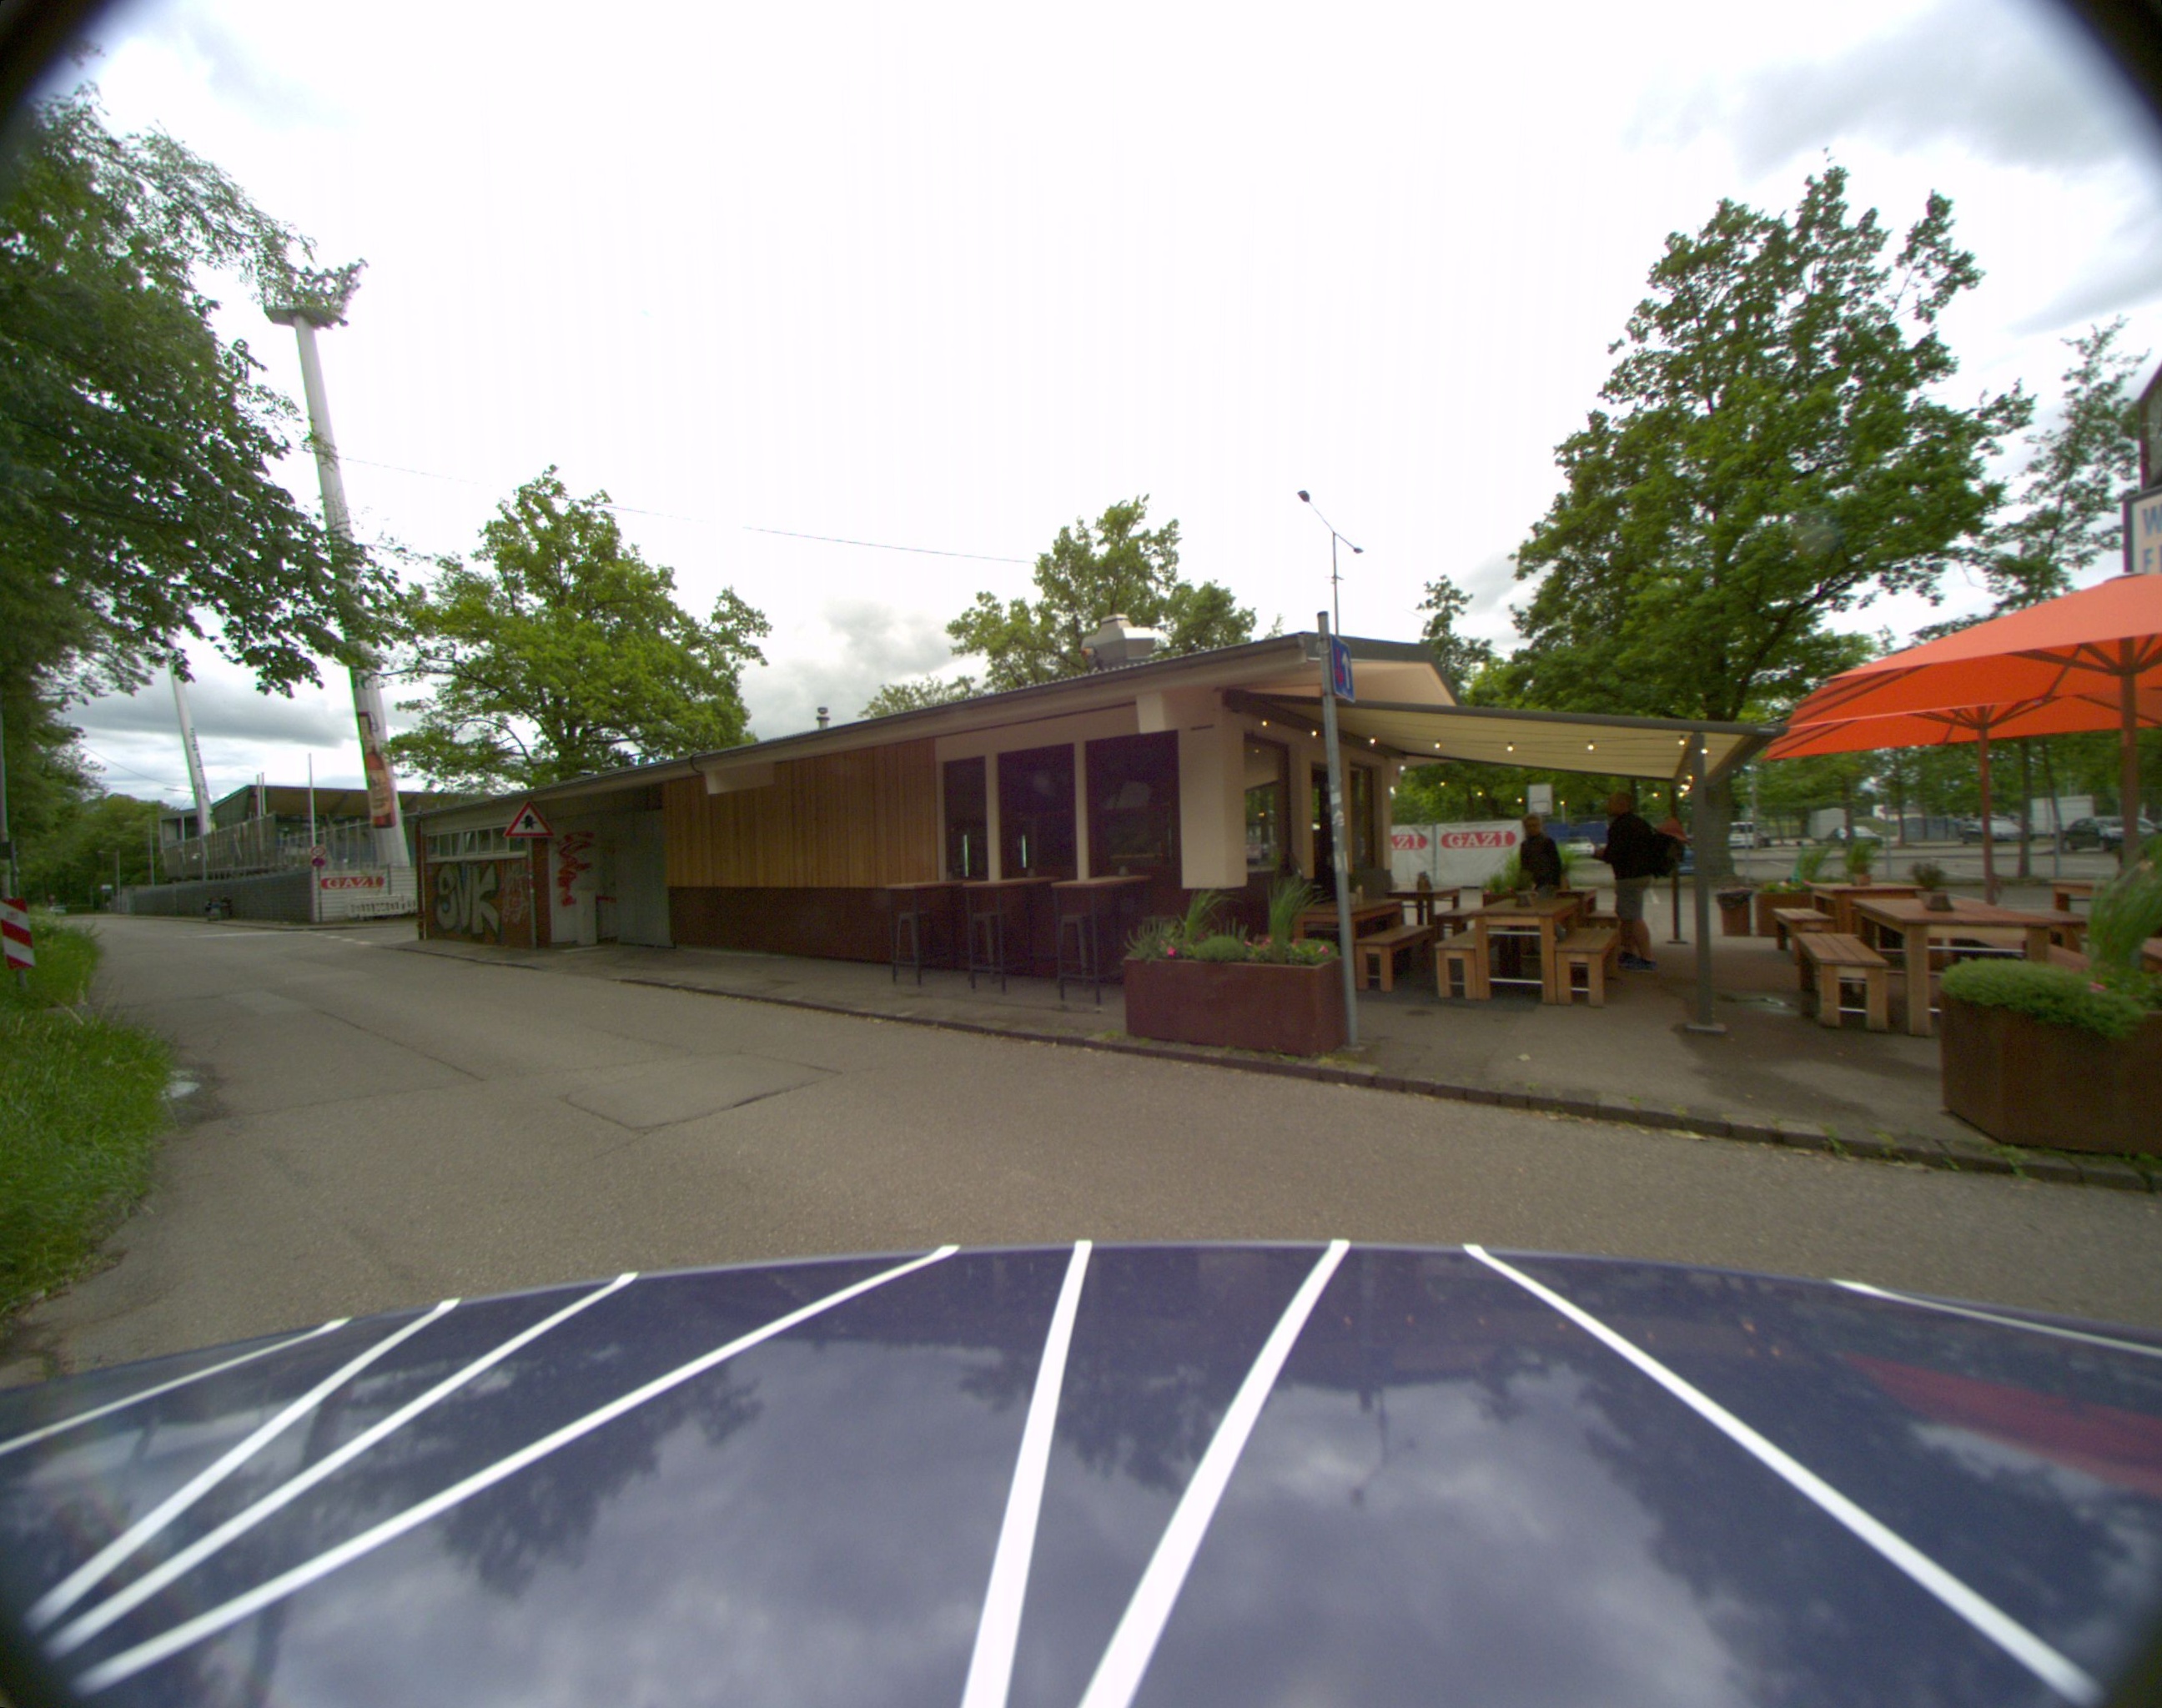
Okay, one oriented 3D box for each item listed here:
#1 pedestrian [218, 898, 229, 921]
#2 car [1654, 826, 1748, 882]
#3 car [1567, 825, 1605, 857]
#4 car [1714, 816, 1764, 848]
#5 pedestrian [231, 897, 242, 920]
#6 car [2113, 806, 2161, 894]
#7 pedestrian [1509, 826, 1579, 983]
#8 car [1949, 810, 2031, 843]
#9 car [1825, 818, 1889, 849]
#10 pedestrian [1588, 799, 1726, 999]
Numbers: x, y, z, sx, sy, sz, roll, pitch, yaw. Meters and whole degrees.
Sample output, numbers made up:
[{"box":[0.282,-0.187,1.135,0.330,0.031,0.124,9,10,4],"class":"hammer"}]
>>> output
[{"box":[-52.190,3.363,46.237,0.376,1.378,0.373,-2,1,40],"class":"pedestrian"},{"box":[19.015,-0.025,23.464,1.995,1.543,4.008,-2,0,36],"class":"car"},{"box":[34.177,-0.886,51.463,1.995,2.002,4.007,-2,0,33],"class":"car"},{"box":[44.540,-1.472,51.540,1.872,2.027,4.599,-2,0,33],"class":"car"},{"box":[-51.858,3.354,46.646,0.405,1.378,0.377,-2,1,40],"class":"pedestrian"},{"box":[20.746,-0.094,13.228,1.931,1.660,4.353,-2,0,34],"class":"car"},{"box":[5.134,0.537,8.420,0.529,1.657,0.596,-2,1,40],"class":"pedestrian"},{"box":[53.607,-1.589,44.903,1.872,1.769,4.303,-2,0,33],"class":"car"},{"box":[49.015,-1.290,48.075,1.872,1.769,4.303,-2,0,33],"class":"car"},{"box":[5.575,0.417,7.395,0.710,1.820,0.750,-3,1,-3],"class":"pedestrian"}]
